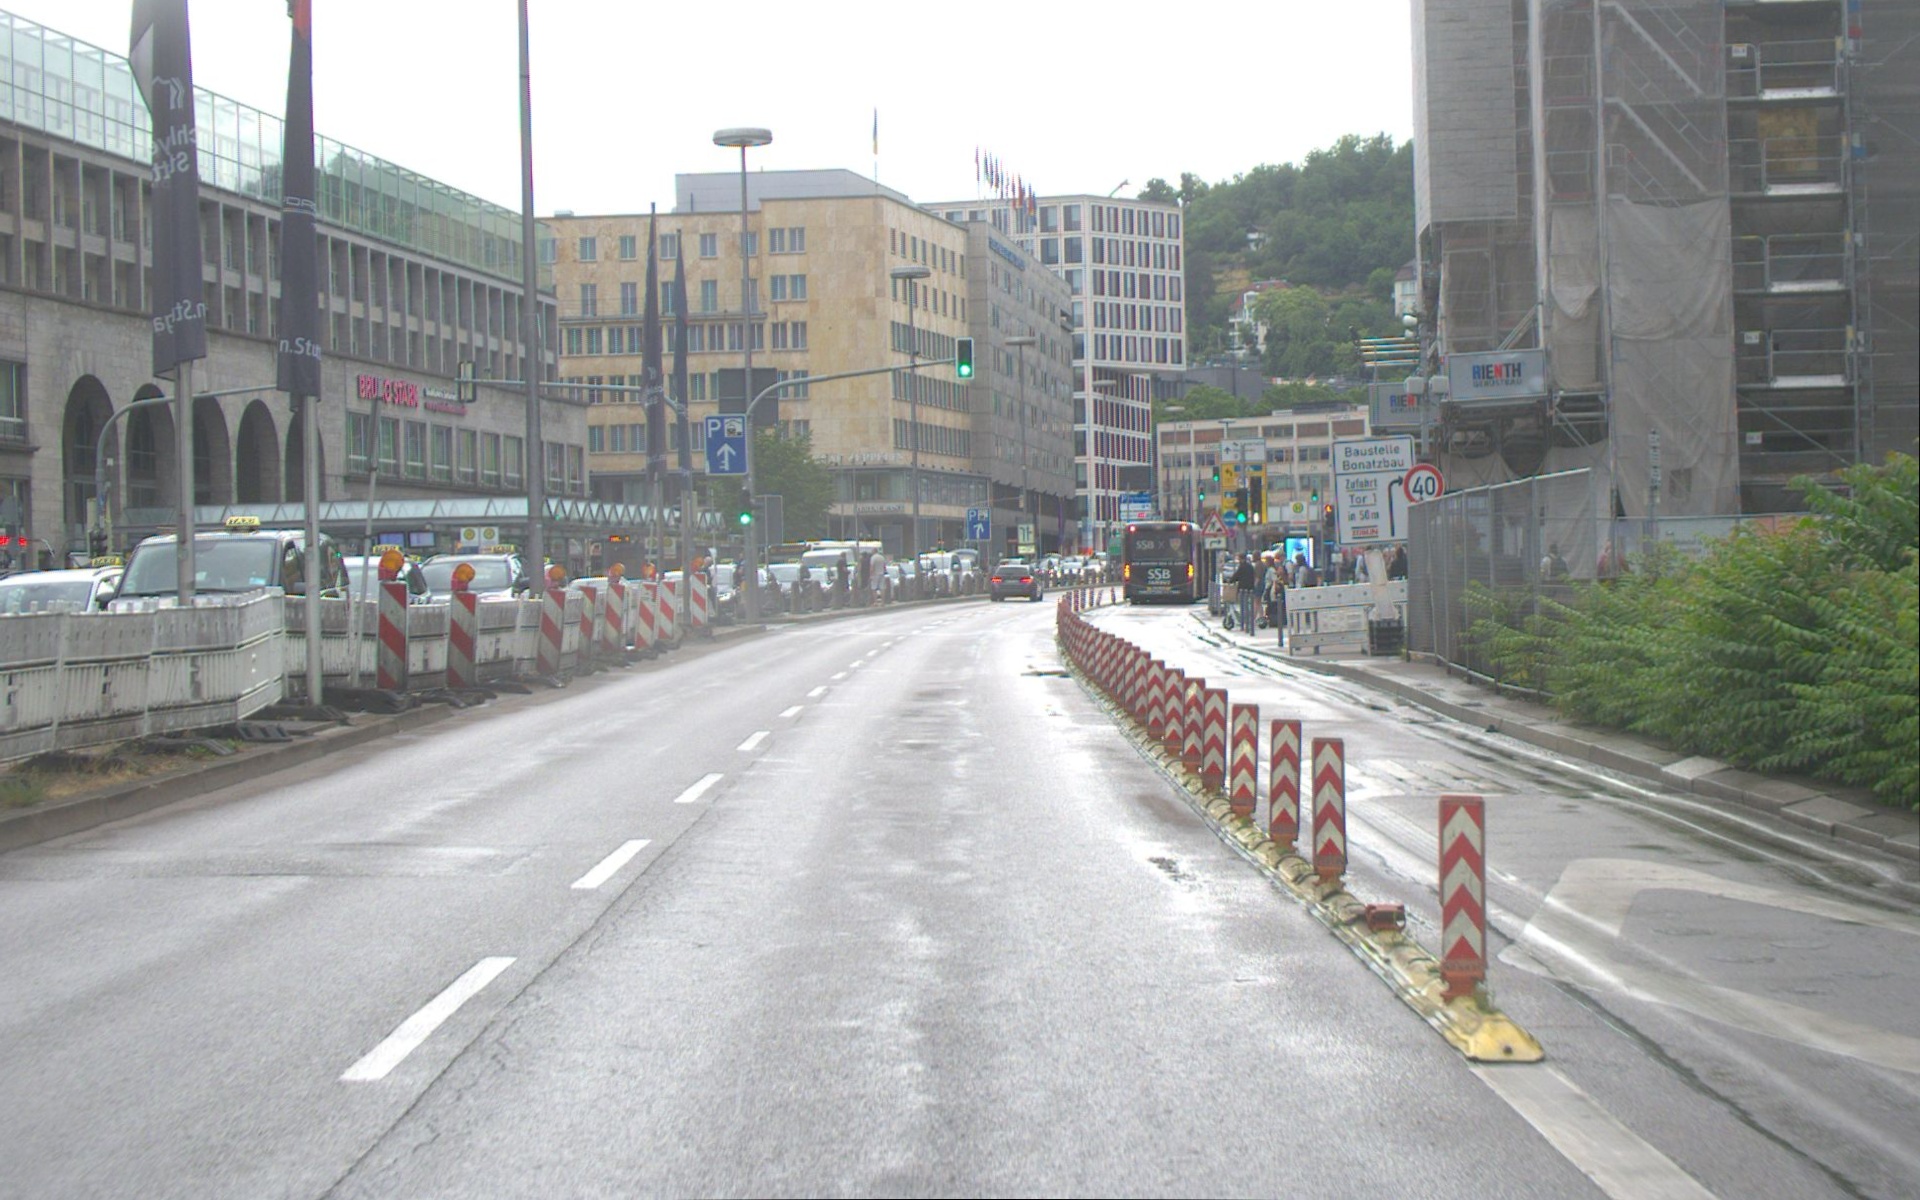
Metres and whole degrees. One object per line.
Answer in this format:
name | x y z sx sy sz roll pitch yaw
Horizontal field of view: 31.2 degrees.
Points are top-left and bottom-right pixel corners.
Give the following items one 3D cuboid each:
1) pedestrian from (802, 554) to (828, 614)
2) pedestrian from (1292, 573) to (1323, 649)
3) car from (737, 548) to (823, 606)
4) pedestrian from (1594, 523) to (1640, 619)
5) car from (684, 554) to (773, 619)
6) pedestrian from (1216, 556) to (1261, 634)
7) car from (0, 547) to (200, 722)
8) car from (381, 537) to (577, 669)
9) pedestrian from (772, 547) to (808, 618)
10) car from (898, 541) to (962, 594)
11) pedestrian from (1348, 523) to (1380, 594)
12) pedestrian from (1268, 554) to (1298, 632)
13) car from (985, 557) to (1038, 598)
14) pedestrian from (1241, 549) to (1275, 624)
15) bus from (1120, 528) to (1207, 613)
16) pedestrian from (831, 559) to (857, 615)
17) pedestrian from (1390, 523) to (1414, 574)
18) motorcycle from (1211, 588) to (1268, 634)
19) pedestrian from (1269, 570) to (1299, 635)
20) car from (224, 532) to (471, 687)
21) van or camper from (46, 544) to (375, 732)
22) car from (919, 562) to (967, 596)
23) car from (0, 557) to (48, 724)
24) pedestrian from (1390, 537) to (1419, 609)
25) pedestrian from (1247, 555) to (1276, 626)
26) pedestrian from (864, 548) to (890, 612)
pedestrian | -4.147 -0.472 98.311 0.651 1.705 0.593 0 1 5
pedestrian | 7.763 0.250 76.776 0.558 1.645 0.614 -4 1 7
car | -5.592 -0.730 107.328 1.930 1.685 4.681 -3 0 6
pedestrian | 12.589 -0.556 65.911 0.671 1.826 1.015 -1 0 0
car | -6.404 -0.401 95.422 1.903 1.693 4.500 0 2 4
pedestrian | 6.309 -0.117 77.788 0.580 1.735 0.822 -2 1 -37
car | -10.900 0.362 42.036 1.914 1.845 4.566 4 2 2
car | -7.320 0.007 52.822 1.994 1.811 4.810 -2 2 4
pedestrian | -4.381 -0.453 88.636 0.781 1.769 0.606 -4 1 -6
car | -1.276 -1.416 149.113 1.994 2.171 5.543 -2 1 7
pedestrian | 10.800 -1.121 92.007 0.723 1.841 0.810 -4 1 6
pedestrian | 7.489 -0.166 79.676 0.558 1.746 0.711 -4 1 7
car | 2.040 -0.896 135.486 1.993 1.546 4.000 -2 1 1
pedestrian | 7.178 -0.328 82.845 0.558 1.753 0.752 -4 1 -7
bus | 7.739 -1.130 129.808 2.756 3.058 9.078 0 1 7
pedestrian | -3.678 -0.408 109.091 0.698 1.749 0.711 -1 1 6
pedestrian | 13.677 -1.607 106.426 0.651 1.534 0.665 -4 1 7
motorcycle | 6.327 0.253 77.782 0.584 1.018 1.239 -2 1 -37
pedestrian | 7.430 0.048 78.746 0.558 1.444 0.711 -4 1 7
car | -7.814 0.071 44.323 1.994 1.764 4.810 -2 2 4
van or camper | -7.699 0.320 35.895 1.945 1.813 5.391 0 1 4
car | -0.793 -1.035 167.374 1.994 1.546 4.000 -2 1 4
car | -10.871 0.441 34.806 1.890 1.696 4.301 0 2 4
pedestrian | 10.429 -0.637 80.724 0.549 1.627 0.995 -4 1 6
pedestrian | 7.141 -0.221 81.422 0.558 1.635 0.752 -4 1 7
pedestrian | -2.614 -0.628 108.893 0.723 2.001 0.772 0 1 6
